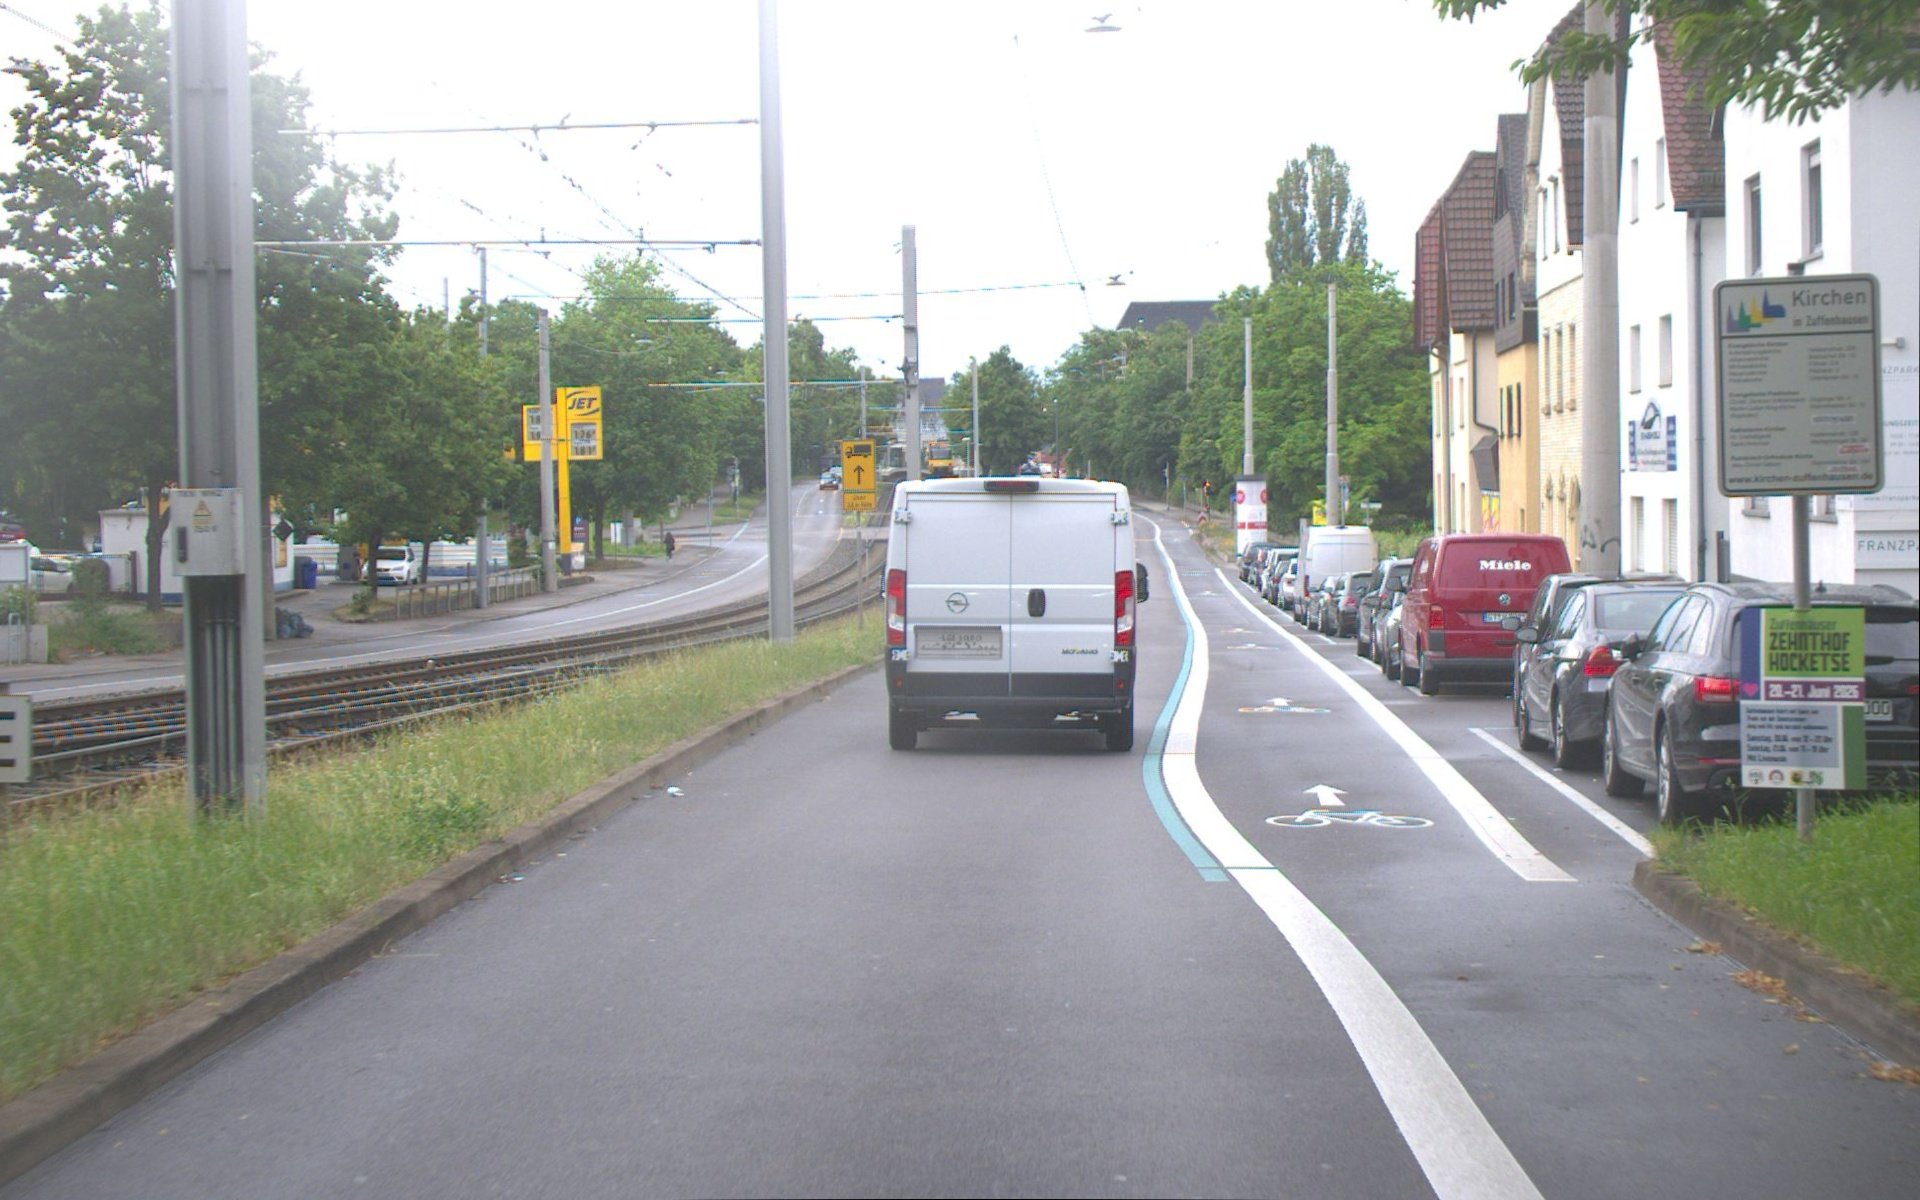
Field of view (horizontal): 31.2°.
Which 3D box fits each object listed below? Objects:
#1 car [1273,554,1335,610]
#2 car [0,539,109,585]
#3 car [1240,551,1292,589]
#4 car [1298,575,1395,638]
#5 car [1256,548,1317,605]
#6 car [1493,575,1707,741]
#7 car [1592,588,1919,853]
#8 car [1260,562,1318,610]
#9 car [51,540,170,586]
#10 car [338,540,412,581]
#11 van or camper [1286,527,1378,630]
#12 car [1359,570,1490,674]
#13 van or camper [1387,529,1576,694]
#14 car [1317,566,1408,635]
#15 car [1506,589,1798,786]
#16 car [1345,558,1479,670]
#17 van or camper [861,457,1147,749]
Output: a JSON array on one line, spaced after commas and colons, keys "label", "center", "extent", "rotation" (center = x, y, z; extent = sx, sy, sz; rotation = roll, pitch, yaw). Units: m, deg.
[{"label": "car", "center": [10.661, -0.580, 106.751], "extent": [1.646, 1.609, 4.104], "rotation": [1, 1, 2]}, {"label": "car", "center": [-30.452, -1.264, 114.666], "extent": [3.763, 1.449, 1.552], "rotation": [1, 0, -23]}, {"label": "car", "center": [12.581, -1.239, 141.319], "extent": [1.847, 1.494, 3.954], "rotation": [1, 1, 1]}, {"label": "car", "center": [9.456, 0.137, 84.409], "extent": [1.788, 1.401, 4.553], "rotation": [1, 1, -1]}, {"label": "car", "center": [11.169, -0.822, 117.747], "extent": [1.747, 1.801, 3.954], "rotation": [1, 2, 1]}, {"label": "car", "center": [5.910, 0.524, 32.068], "extent": [1.578, 1.447, 3.719], "rotation": [-1, -1, 5]}, {"label": "car", "center": [4.969, 0.650, 21.032], "extent": [1.677, 1.418, 4.565], "rotation": [0, 0, 4]}, {"label": "car", "center": [10.711, -0.476, 112.151], "extent": [1.646, 1.441, 3.954], "rotation": [1, 1, 2]}, {"label": "car", "center": [-29.346, -1.275, 118.723], "extent": [3.763, 1.474, 1.576], "rotation": [1, 0, -23]}, {"label": "car", "center": [-21.763, -1.463, 128.048], "extent": [1.993, 1.437, 4.000], "rotation": [1, 0, 0]}, {"label": "van or camper", "center": [9.797, -0.620, 90.945], "extent": [1.994, 2.554, 6.043], "rotation": [1, 2, 3]}, {"label": "car", "center": [7.288, 0.314, 54.221], "extent": [1.634, 1.533, 4.135], "rotation": [2, 1, 3]}, {"label": "van or camper", "center": [6.444, 0.109, 42.911], "extent": [1.851, 1.913, 4.994], "rotation": [-1, 0, 3]}, {"label": "car", "center": [9.094, -0.005, 77.899], "extent": [1.565, 1.493, 3.513], "rotation": [2, 1, -1]}, {"label": "car", "center": [5.374, 0.629, 27.193], "extent": [1.712, 1.407, 4.565], "rotation": [0, 0, 4]}, {"label": "car", "center": [7.704, 0.211, 58.959], "extent": [1.839, 1.794, 4.686], "rotation": [2, 1, 3]}, {"label": "van or camper", "center": [0.316, 0.004, 29.391], "extent": [2.199, 2.245, 4.684], "rotation": [1, 0, -1]}]
